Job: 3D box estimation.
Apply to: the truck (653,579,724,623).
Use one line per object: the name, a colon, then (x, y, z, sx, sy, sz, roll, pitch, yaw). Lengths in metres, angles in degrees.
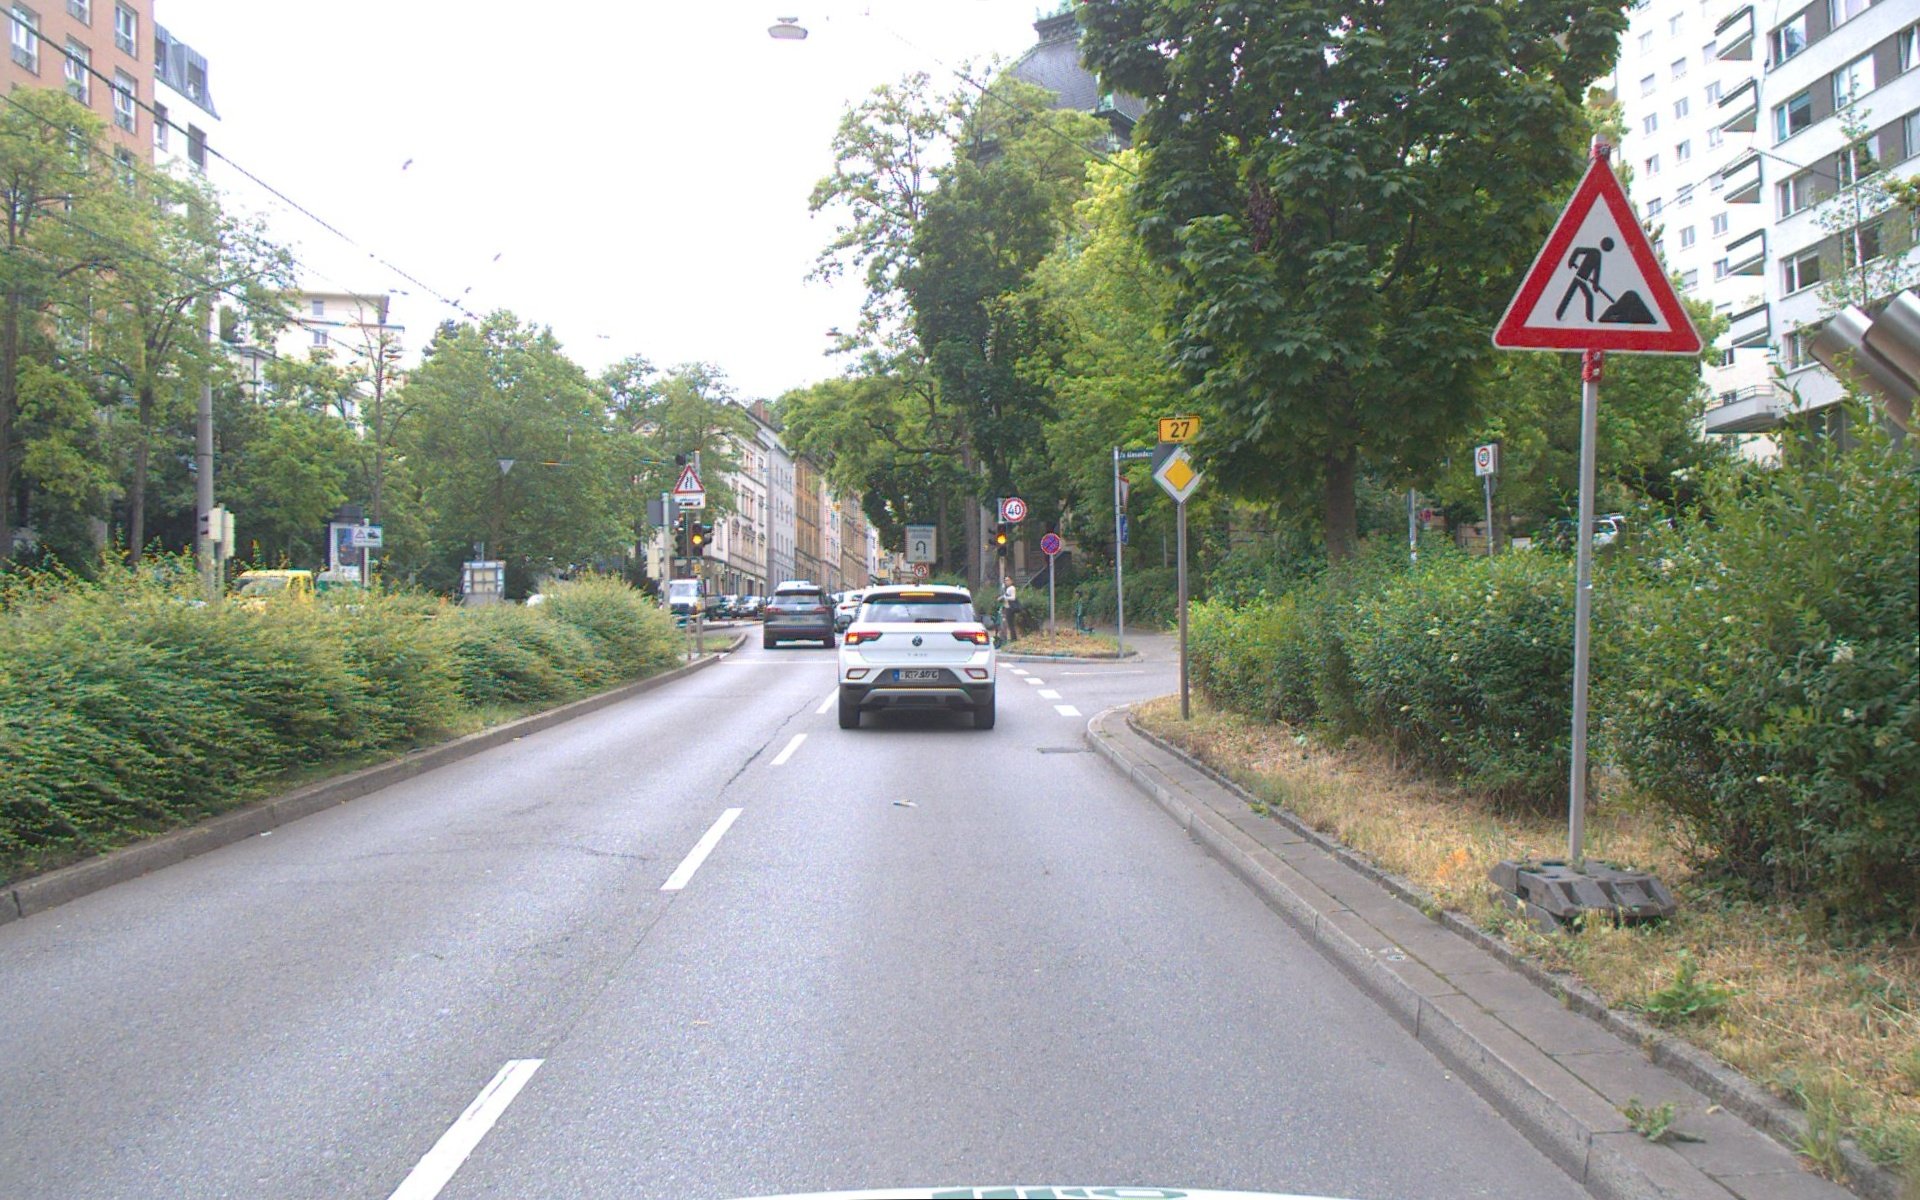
truck: (-14.627, 0.007, 89.380, 2.371, 2.207, 6.037, 2, 1, 4)

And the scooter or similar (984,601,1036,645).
scooter or similar: (1.223, 0.555, 40.500, 1.165, 1.011, 0.530, -2, 0, -8)

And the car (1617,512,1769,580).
car: (23.693, -1.741, 53.517, 4.053, 2.049, 1.996, -2, 0, -8)

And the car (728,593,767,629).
car: (-13.433, 0.720, 104.864, 1.953, 2.049, 3.998, 2, -2, -1)

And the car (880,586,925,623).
car: (-3.498, 0.285, 101.989, 2.371, 2.207, 6.035, -1, 0, 2)

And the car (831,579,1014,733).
car: (-0.501, 0.568, 19.430, 1.899, 1.594, 4.044, 1, 1, -3)

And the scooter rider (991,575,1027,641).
scooter rider: (1.200, 0.199, 40.504, 0.763, 1.585, 0.531, -2, 0, -8)

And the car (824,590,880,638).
car: (-4.004, 0.519, 61.226, 1.954, 1.651, 3.997, -2, -1, -4)

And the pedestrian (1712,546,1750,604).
pedestrian: (20.362, -0.657, 43.694, 0.551, 1.526, 0.672, -1, 0, -27)

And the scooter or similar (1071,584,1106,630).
scooter or similar: (3.359, 0.191, 43.432, 0.466, 1.119, 1.363, -2, -2, -14)

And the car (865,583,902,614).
car: (-5.640, -0.106, 122.704, 2.372, 2.207, 6.033, -1, 0, 0)

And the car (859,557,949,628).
car: (-1.470, -0.146, 42.101, 1.867, 1.602, 3.827, 2, -2, -8)

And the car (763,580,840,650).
car: (-4.300, 0.366, 45.277, 1.802, 1.770, 3.999, -1, 1, -2)

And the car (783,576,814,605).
car: (-12.185, -0.703, 125.121, 1.953, 2.049, 3.999, -2, 0, -1)
